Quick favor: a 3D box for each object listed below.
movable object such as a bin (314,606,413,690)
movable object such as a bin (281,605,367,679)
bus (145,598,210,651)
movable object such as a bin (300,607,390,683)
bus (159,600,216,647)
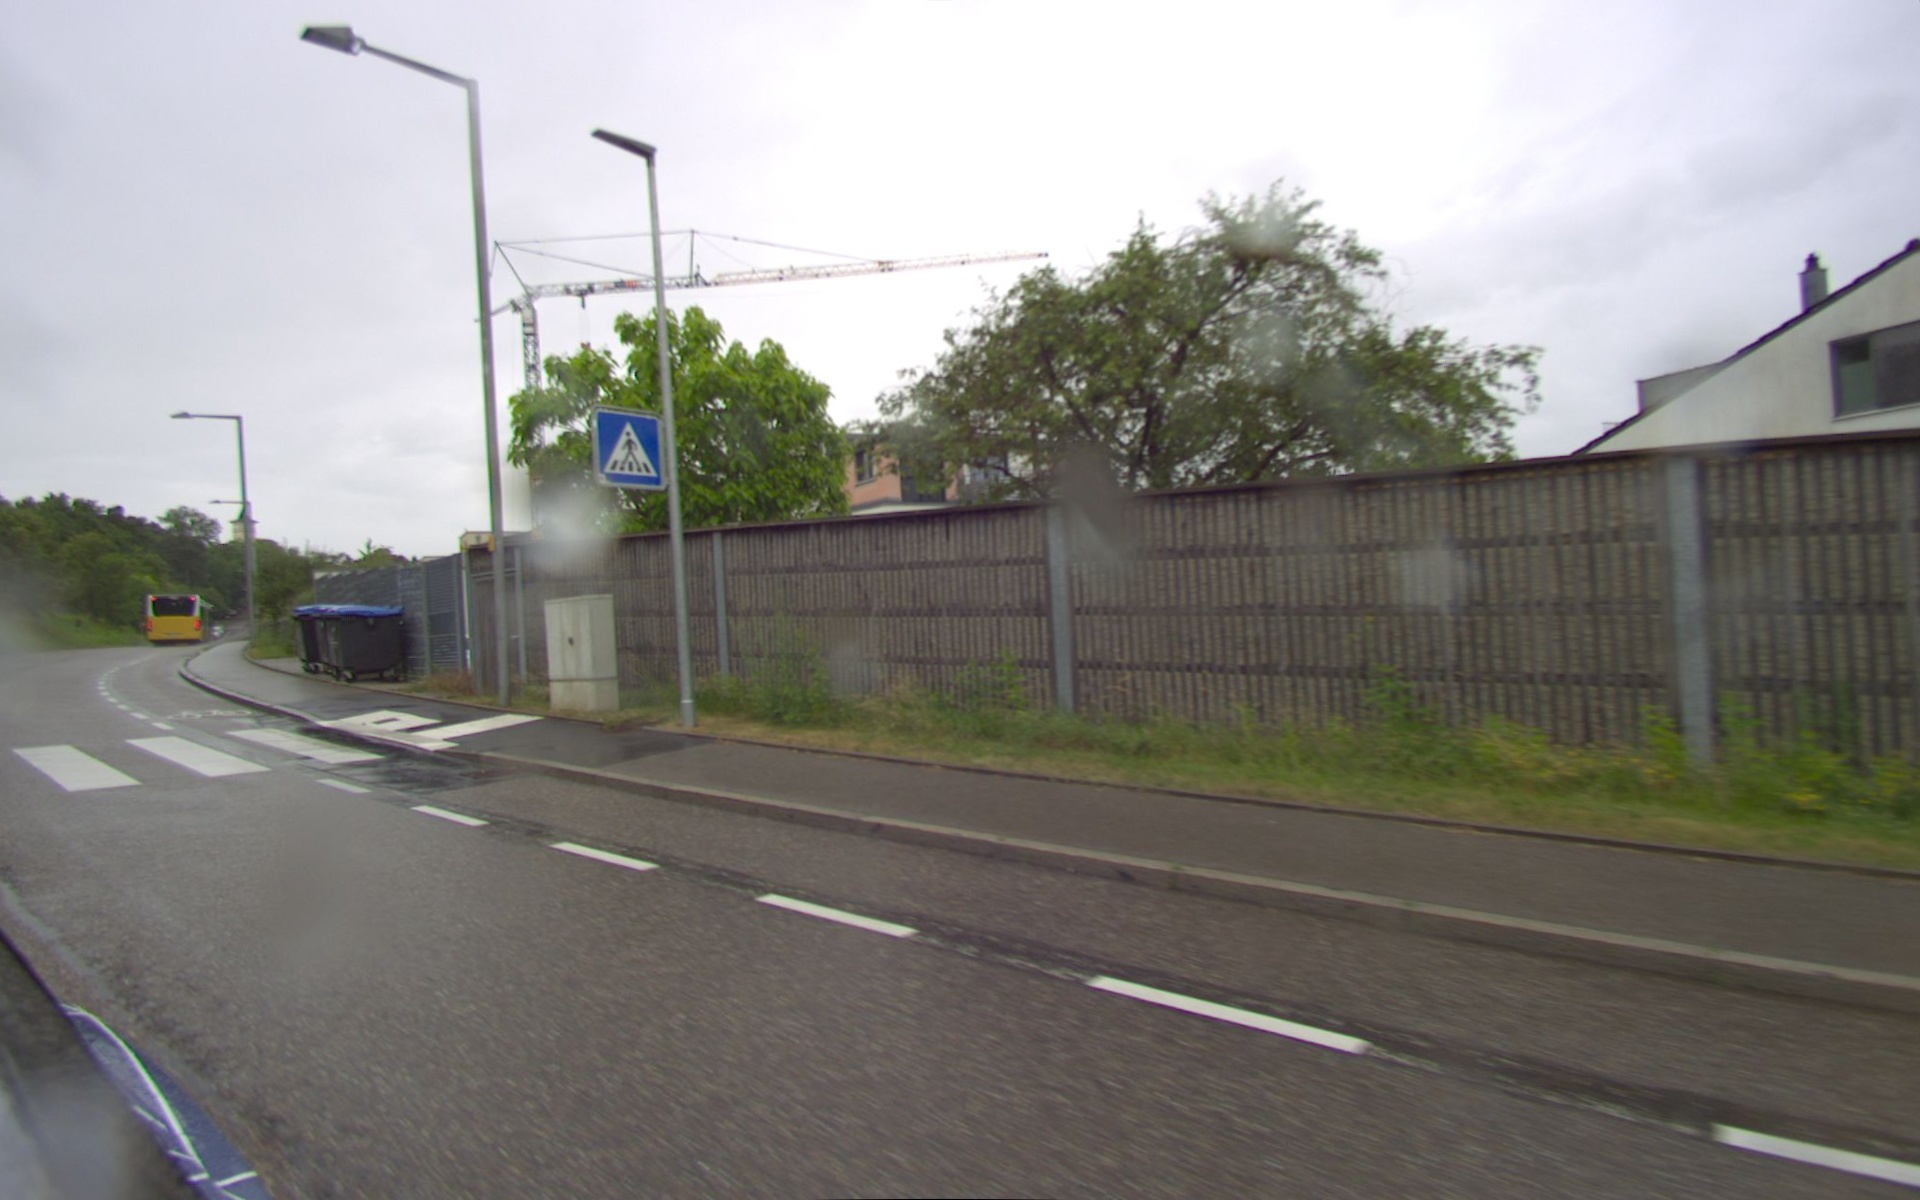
[{"bbox_3d":[-10.604,0.830,17.978,1.118,1.331,1.363,-7,3,-44],"label":"movable object such as a bin"},{"bbox_3d":[-12.928,0.839,20.569,1.118,1.349,1.399,-6,2,-44],"label":"movable object such as a bin"},{"bbox_3d":[-49.258,1.512,63.864,2.604,3.055,7.686,-2,0,-34],"label":"bus"},{"bbox_3d":[-11.851,0.841,19.488,1.118,1.311,1.399,-6,3,-44],"label":"movable object such as a bin"},{"bbox_3d":[-54.478,1.568,71.576,2.604,3.090,10.883,-1,0,-35],"label":"bus"}]
